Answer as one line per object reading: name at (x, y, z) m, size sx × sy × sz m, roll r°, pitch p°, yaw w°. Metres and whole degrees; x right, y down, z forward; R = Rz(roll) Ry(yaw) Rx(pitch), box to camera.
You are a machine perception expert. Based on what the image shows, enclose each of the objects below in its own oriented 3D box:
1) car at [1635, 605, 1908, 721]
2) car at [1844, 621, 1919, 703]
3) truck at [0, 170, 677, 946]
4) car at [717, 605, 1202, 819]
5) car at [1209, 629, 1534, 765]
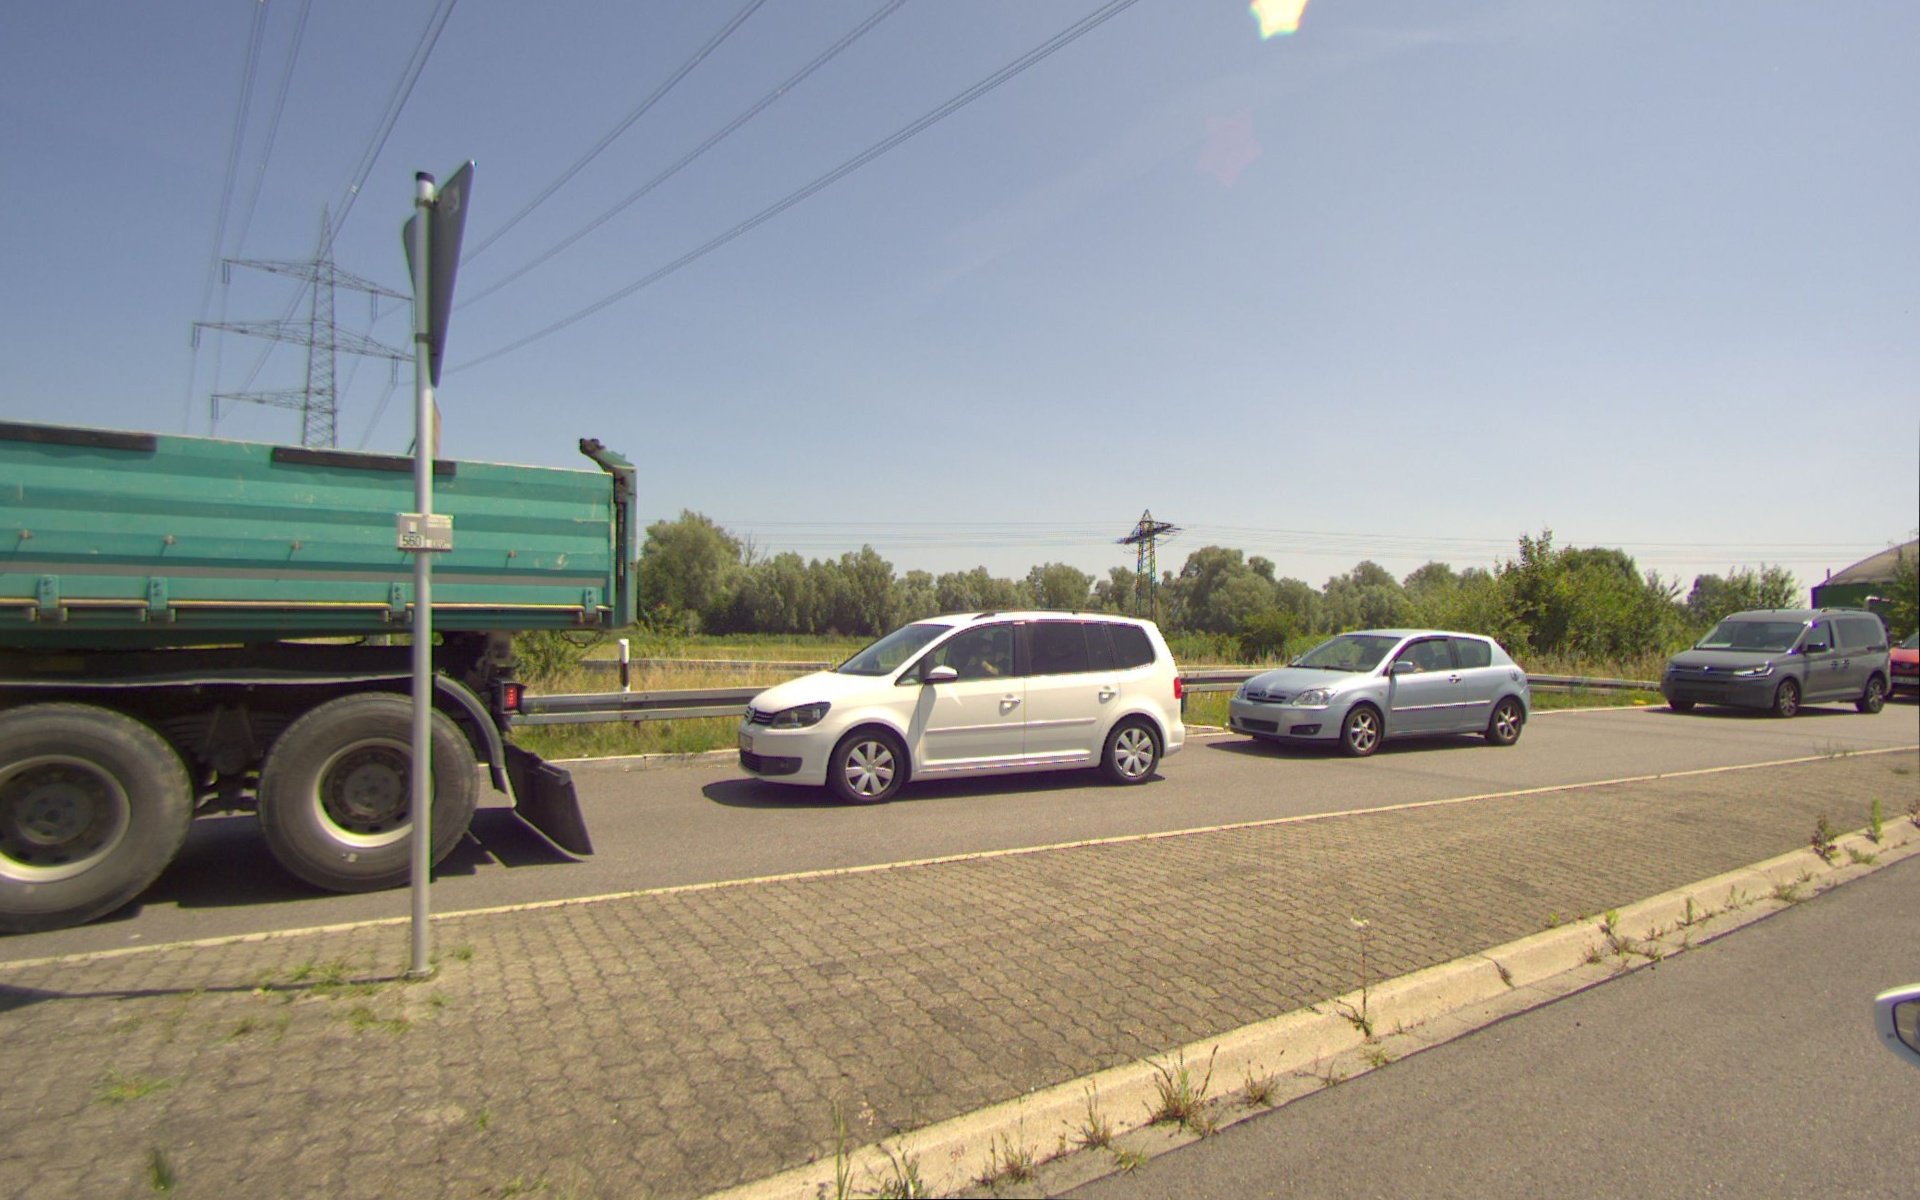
car at (14.514, 1.055, 17.980) m, size 4.374 × 1.857 × 1.922 m, roll 1°, pitch 0°, yaw -22°
car at (20.805, 1.311, 20.912) m, size 4.328 × 1.536 × 1.795 m, roll 2°, pitch 2°, yaw -22°
truck at (-5.607, -0.179, 5.252) m, size 7.531 × 3.517 × 2.586 m, roll 1°, pitch -2°, yaw -34°
car at (0.036, 0.900, 9.544) m, size 4.274 × 1.642 × 1.766 m, roll 1°, pitch 0°, yaw -27°
car at (5.220, 1.113, 12.667) m, size 3.956 × 1.479 × 1.626 m, roll 1°, pitch -1°, yaw -27°
